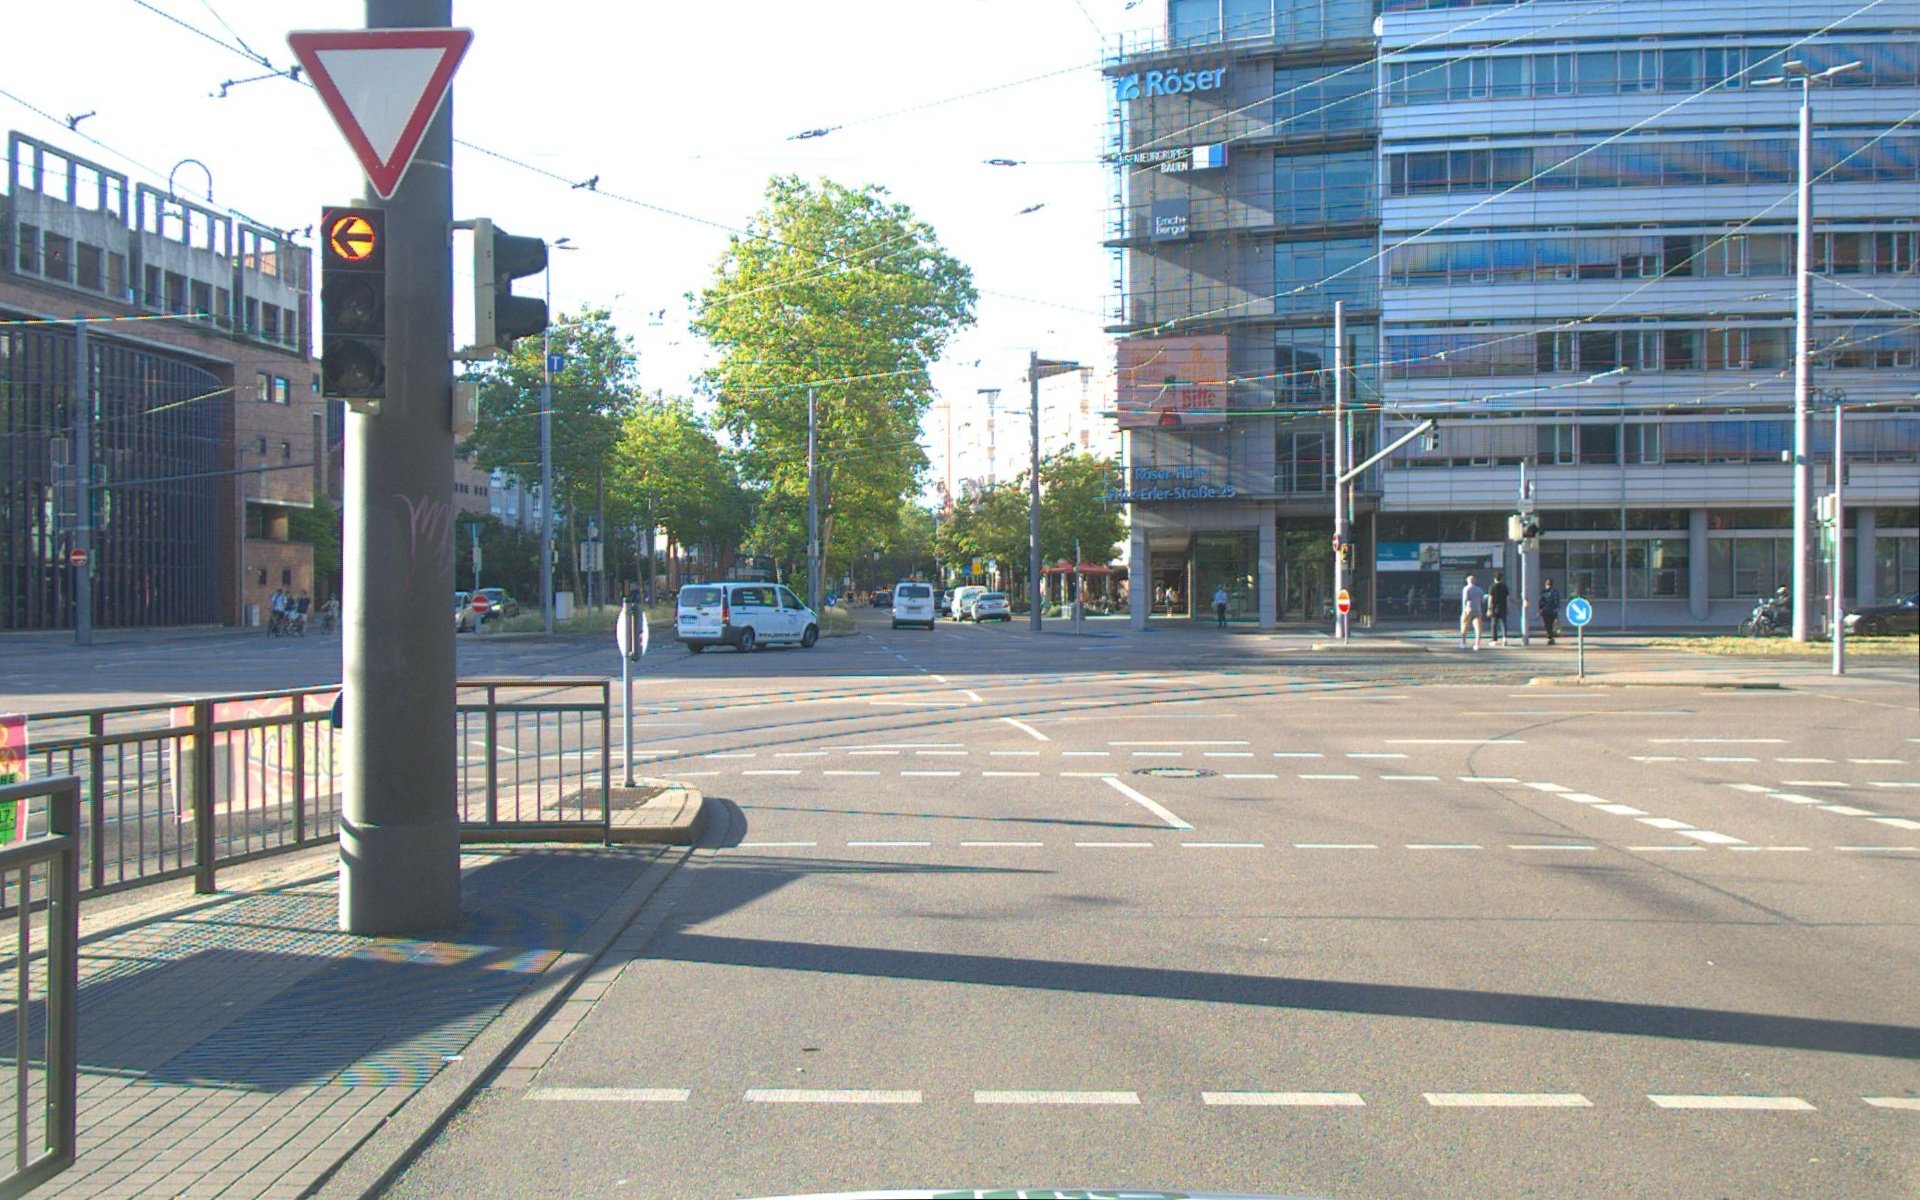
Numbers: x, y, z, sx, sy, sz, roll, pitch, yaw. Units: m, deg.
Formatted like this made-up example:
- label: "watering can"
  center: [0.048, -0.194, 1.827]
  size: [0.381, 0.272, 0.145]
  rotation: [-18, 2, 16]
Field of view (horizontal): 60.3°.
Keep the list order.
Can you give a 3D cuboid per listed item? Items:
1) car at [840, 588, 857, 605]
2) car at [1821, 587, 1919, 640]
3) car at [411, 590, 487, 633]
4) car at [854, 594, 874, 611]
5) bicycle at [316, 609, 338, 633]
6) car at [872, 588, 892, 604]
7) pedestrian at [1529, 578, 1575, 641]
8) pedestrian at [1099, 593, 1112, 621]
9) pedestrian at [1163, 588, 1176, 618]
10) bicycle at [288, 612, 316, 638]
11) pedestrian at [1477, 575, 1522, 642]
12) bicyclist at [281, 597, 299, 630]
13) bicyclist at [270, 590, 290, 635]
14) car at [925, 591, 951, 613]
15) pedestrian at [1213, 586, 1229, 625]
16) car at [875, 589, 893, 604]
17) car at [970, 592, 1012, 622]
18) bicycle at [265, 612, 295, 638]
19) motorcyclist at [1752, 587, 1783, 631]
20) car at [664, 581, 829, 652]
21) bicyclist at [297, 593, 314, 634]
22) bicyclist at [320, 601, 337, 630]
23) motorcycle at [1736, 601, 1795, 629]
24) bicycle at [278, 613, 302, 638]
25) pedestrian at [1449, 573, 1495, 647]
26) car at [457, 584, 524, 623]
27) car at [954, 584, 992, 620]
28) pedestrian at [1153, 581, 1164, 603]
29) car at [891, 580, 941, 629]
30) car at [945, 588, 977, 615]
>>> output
- label: "car"
  center: [-13.817, -0.424, 205.437]
  size: [1.953, 2.049, 3.999]
  rotation: [-1, 0, -1]
- label: "car"
  center: [26.841, 0.347, 46.736]
  size: [4.070, 1.423, 1.786]
  rotation: [-1, 0, 4]
- label: "car"
  center: [-20.669, 0.443, 67.041]
  size: [1.953, 1.668, 3.999]
  rotation: [-1, 0, -2]
- label: "car"
  center: [-8.509, 0.208, 146.895]
  size: [1.762, 1.467, 3.998]
  rotation: [1, 0, -3]
- label: "bicycle"
  center: [-27.144, 0.889, 70.953]
  size: [0.442, 0.980, 1.347]
  rotation: [-1, 0, -1]
- label: "car"
  center: [-7.338, -0.346, 156.644]
  size: [1.761, 1.467, 3.999]
  rotation: [-1, 0, -1]
- label: "pedestrian"
  center: [15.211, 0.241, 42.511]
  size: [0.928, 1.591, 0.897]
  rotation: [-1, 0, 6]
- label: "pedestrian"
  center: [9.264, 0.437, 105.123]
  size: [0.729, 1.744, 0.612]
  rotation: [-1, 0, -1]
- label: "pedestrian"
  center: [10.748, 0.148, 84.840]
  size: [0.599, 1.534, 0.579]
  rotation: [-1, 0, 7]
- label: "bicycle"
  center: [-25.945, 0.981, 65.212]
  size: [0.463, 0.980, 1.575]
  rotation: [-1, 0, -1]
- label: "pedestrian"
  center: [13.937, 0.212, 42.738]
  size: [0.893, 1.714, 1.036]
  rotation: [-1, 0, 6]
- label: "bicyclist"
  center: [-27.627, 0.549, 68.212]
  size: [0.495, 1.327, 0.581]
  rotation: [-1, 0, -1]
- label: "bicyclist"
  center: [-26.819, 0.491, 65.216]
  size: [0.525, 1.761, 0.581]
  rotation: [-1, 0, -1]
- label: "car"
  center: [-1.679, 0.127, 126.638]
  size: [1.953, 1.646, 3.999]
  rotation: [-1, 0, -1]
- label: "pedestrian"
  center: [10.185, 0.209, 64.591]
  size: [0.599, 1.534, 0.579]
  rotation: [-1, 0, 6]
- label: "car"
  center: [-7.717, -0.365, 168.123]
  size: [1.761, 1.467, 3.999]
  rotation: [-1, 0, -1]
- label: "car"
  center: [1.535, 0.333, 82.793]
  size: [1.953, 1.400, 3.999]
  rotation: [-1, 0, -1]
- label: "bicycle"
  center: [-26.801, 0.989, 65.189]
  size: [0.531, 0.980, 1.586]
  rotation: [-1, 0, -1]
- label: "motorcyclist"
  center: [24.294, 0.261, 49.740]
  size: [0.697, 1.298, 0.460]
  rotation: [-1, 0, 3]
- label: "car"
  center: [-5.887, 0.412, 46.415]
  size: [1.923, 1.881, 5.324]
  rotation: [-1, 0, 27]
- label: "bicyclist"
  center: [-25.879, 0.524, 65.405]
  size: [0.449, 1.631, 0.581]
  rotation: [-1, 0, -1]
- label: "bicyclist"
  center: [-27.150, 0.662, 71.071]
  size: [0.495, 1.199, 0.581]
  rotation: [-1, 0, -1]
- label: "motorcycle"
  center: [24.241, 0.448, 49.762]
  size: [1.535, 0.824, 0.467]
  rotation: [-1, 0, 3]
- label: "bicycle"
  center: [-27.612, 1.054, 68.171]
  size: [0.458, 0.980, 1.320]
  rotation: [-1, 0, -1]
- label: "pedestrian"
  center: [12.864, 0.247, 41.569]
  size: [0.846, 1.820, 0.871]
  rotation: [-1, 0, -4]
- label: "car"
  center: [-21.122, 0.143, 74.599]
  size: [1.953, 1.668, 3.999]
  rotation: [-1, 0, -2]
- label: "car"
  center: [0.686, 0.113, 89.578]
  size: [1.953, 1.892, 3.999]
  rotation: [-1, 0, -1]
- label: "pedestrian"
  center: [15.953, -0.645, 132.878]
  size: [0.729, 1.744, 0.612]
  rotation: [-1, 0, -1]
- label: "car"
  center: [-1.757, 0.159, 67.677]
  size: [1.719, 1.899, 4.527]
  rotation: [-1, 0, 2]
- label: "car"
  center: [0.035, 0.067, 105.215]
  size: [1.953, 1.646, 3.999]
  rotation: [-1, 0, -1]
